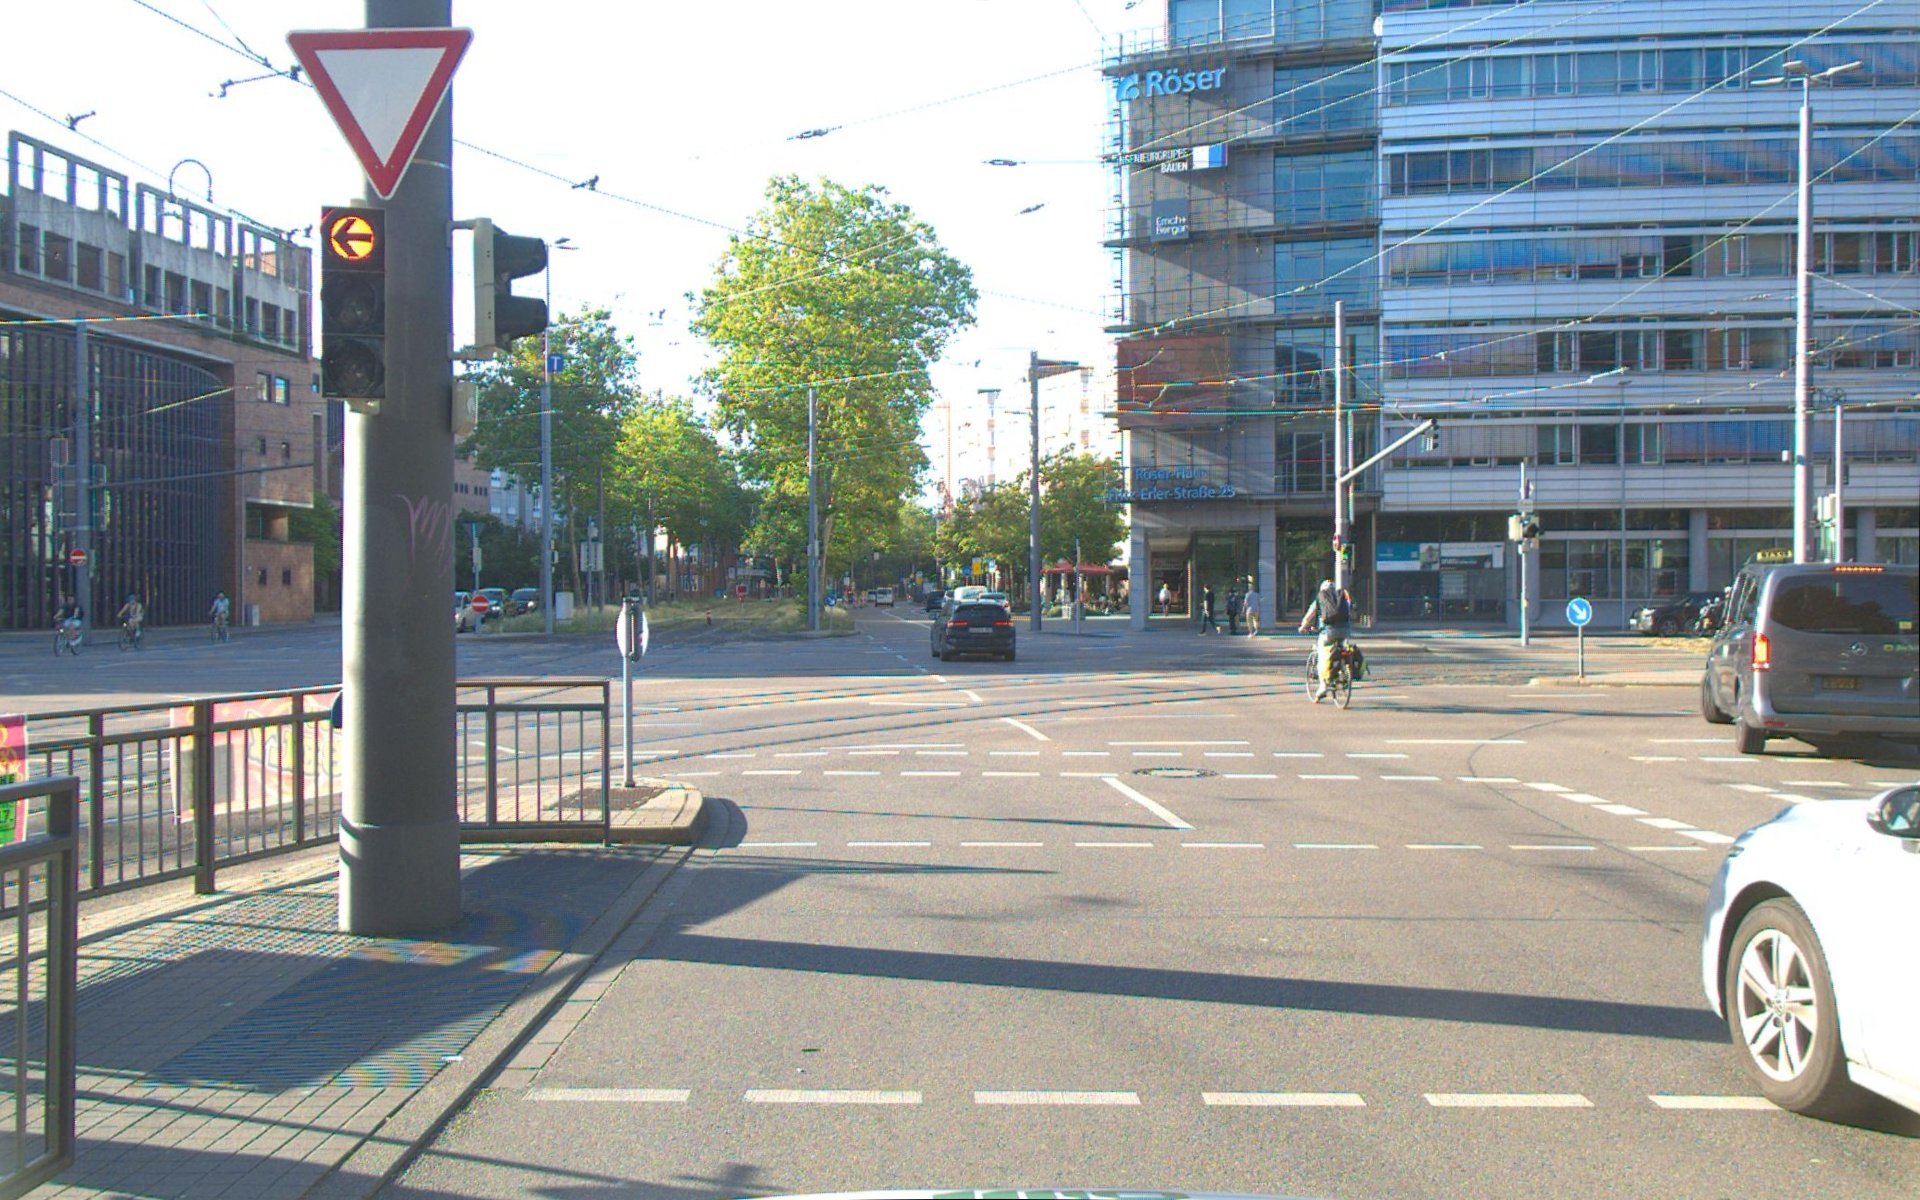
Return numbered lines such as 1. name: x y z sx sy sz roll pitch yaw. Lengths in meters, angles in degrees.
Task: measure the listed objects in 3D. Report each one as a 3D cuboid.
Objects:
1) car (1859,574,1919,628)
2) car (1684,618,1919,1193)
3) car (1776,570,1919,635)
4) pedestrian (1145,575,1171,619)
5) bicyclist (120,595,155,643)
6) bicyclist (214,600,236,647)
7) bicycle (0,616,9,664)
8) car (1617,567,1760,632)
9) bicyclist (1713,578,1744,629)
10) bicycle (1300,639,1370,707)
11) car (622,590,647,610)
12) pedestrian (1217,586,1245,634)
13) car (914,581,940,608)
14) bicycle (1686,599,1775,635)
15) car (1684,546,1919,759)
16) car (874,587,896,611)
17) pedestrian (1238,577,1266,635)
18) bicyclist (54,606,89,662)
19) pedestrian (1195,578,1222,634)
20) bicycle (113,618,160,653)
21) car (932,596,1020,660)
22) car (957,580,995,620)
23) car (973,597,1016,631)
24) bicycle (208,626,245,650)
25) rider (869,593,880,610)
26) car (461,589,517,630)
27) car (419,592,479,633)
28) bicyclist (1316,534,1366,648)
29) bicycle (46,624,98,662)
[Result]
1. car: 29.463 0.067 49.691 3.903 1.579 1.798 1 0 4
2. car: 3.296 0.799 3.645 1.712 1.443 4.001 1 0 1
3. car: 25.521 0.054 46.526 4.165 1.753 1.885 -1 0 2
4. pedestrian: 10.194 -0.137 85.250 1.285 2.228 1.171 1 -1 5
5. bicyclist: -25.961 0.587 52.200 0.640 1.500 1.031 0 0 -6
6. bicyclist: -26.241 0.846 59.076 0.575 1.654 0.514 -1 0 -6
7. bicycle: -24.205 1.033 40.888 0.674 1.162 2.102 -1 2 -15
8. car: 24.376 -0.015 55.451 3.906 2.049 2.000 1 0 -1
9. bicyclist: 23.150 0.095 49.828 0.649 1.529 0.613 -1 0 4
10. bicycle: 4.971 0.954 21.997 0.481 0.802 1.861 1 0 -1
11. car: -26.774 0.003 136.073 1.644 1.635 3.994 1 0 -7
12. pedestrian: 9.903 0.364 60.453 0.852 1.737 0.793 1 -1 -1
13. car: -2.501 -0.400 126.641 1.953 2.049 3.999 1 0 -1
14. bicycle: 23.201 0.502 49.841 2.359 1.040 0.637 -1 0 4
15. car: 8.988 0.450 17.435 1.959 1.929 4.885 0 1 17
16. car: -7.406 -0.078 163.190 1.952 2.049 3.999 1 -3 0
17. pedestrian: 10.381 0.210 58.842 0.852 2.049 0.794 1 -1 1
18. bicyclist: -25.707 0.987 47.851 0.648 1.597 0.757 -1 0 -8
19. pedestrian: 9.058 0.220 60.359 0.832 2.049 0.707 1 -1 -2
20. bicycle: -25.976 1.101 52.212 0.639 1.068 2.010 0 0 -6
21. car: 0.329 0.637 39.608 1.729 1.429 4.292 0 0 -5
22. car: 0.852 0.007 89.771 1.953 2.049 3.999 1 0 -1
23. car: 1.704 0.681 82.790 1.988 1.624 3.999 1 0 -1
24. bicycle: -26.240 1.345 59.166 0.578 0.784 1.966 -1 0 -5
25. rider: -10.780 0.167 208.131 1.246 2.049 0.954 1 -1 -7
26. car: -21.237 0.409 74.750 1.787 1.821 3.994 -1 0 -7
27. car: -20.654 0.476 66.995 1.591 1.604 3.994 -1 0 -7
28. bicyclist: 5.016 -0.120 21.778 0.477 1.464 0.615 1 0 -1
29. bicycle: -25.724 1.238 47.945 0.680 1.016 1.898 -1 0 -8
